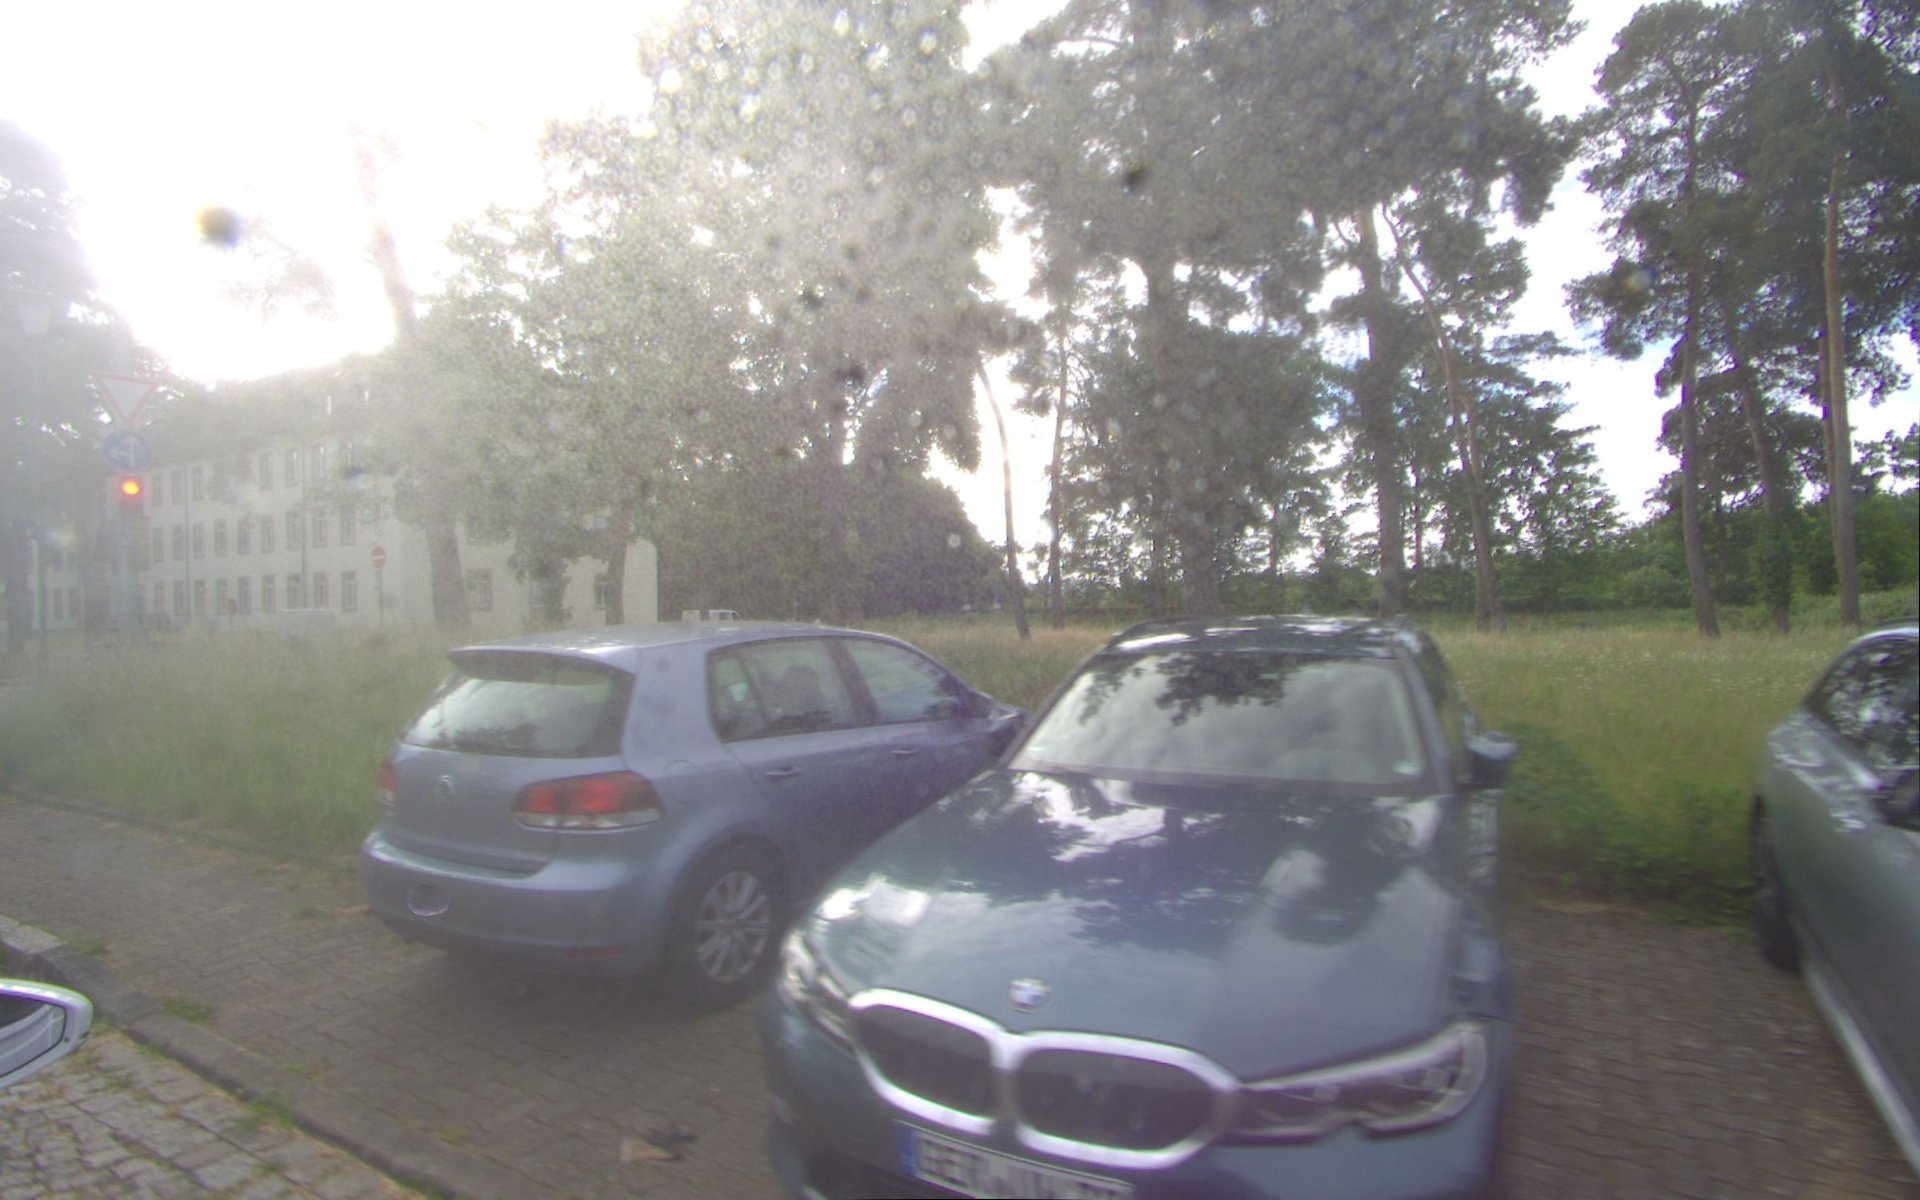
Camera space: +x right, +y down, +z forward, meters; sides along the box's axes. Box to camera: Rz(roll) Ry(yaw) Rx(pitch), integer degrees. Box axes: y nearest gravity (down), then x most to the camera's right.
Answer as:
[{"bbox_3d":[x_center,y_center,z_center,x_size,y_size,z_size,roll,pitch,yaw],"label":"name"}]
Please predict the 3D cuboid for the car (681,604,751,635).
[{"bbox_3d":[-18.754,1.510,77.147,2.182,2.318,5.169,-1,-1,33],"label":"car"}]

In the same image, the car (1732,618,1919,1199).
[{"bbox_3d":[3.473,0.823,2.627,1.786,1.502,4.748,-1,0,32],"label":"car"}]

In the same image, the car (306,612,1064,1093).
[{"bbox_3d":[-0.974,0.835,5.219,1.582,1.446,3.756,0,1,31],"label":"car"}]

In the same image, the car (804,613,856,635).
[{"bbox_3d":[-9.348,1.735,72.141,1.972,1.527,3.474,-1,-1,33],"label":"car"}]

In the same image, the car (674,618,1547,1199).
[{"bbox_3d":[1.229,0.846,3.984,1.734,1.502,4.753,-1,0,28],"label":"car"}]
